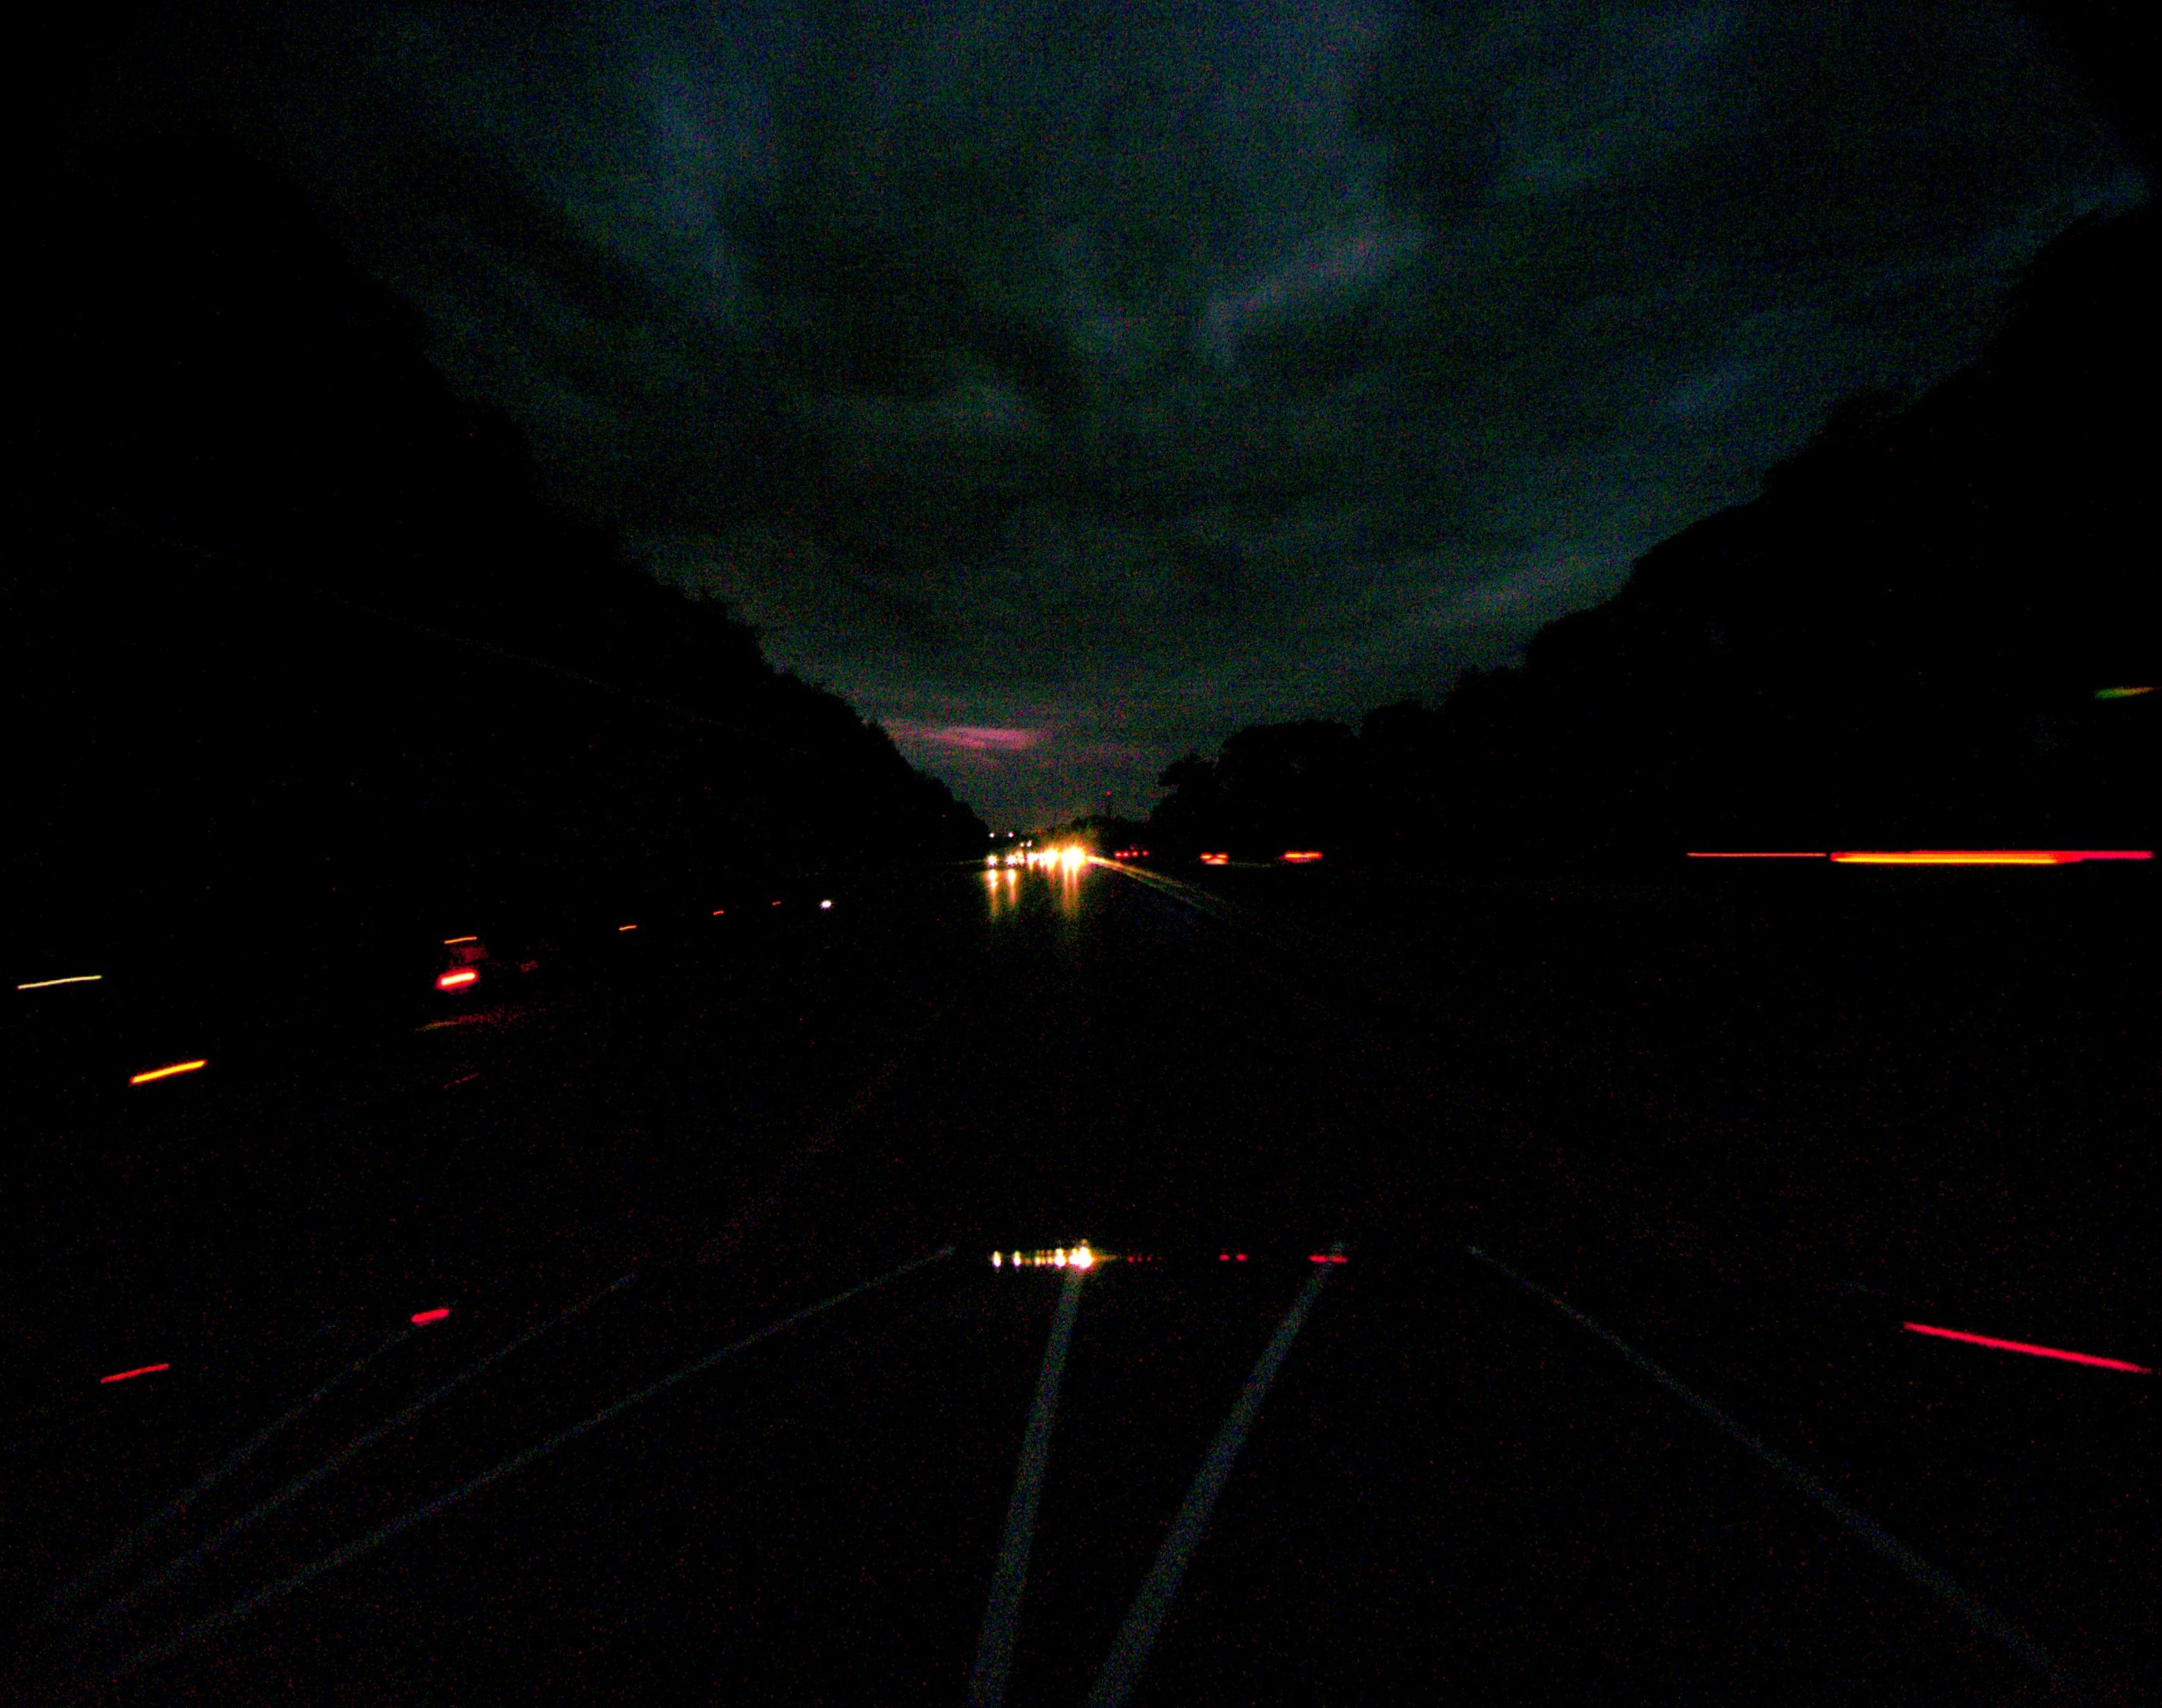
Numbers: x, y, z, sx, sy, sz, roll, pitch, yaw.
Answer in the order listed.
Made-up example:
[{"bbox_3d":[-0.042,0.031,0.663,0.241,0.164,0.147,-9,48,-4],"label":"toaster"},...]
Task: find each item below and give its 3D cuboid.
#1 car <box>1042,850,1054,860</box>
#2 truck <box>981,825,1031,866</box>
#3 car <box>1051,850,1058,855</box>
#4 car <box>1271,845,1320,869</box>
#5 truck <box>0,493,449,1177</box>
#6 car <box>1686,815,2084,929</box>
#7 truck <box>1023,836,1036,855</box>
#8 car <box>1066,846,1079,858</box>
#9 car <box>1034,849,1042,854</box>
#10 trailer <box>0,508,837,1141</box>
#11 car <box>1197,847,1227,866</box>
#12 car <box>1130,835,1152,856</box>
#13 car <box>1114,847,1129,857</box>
[{"bbox_3d":[-6.220,0.192,142.856,1.923,1.706,4.943,-2,0,1],"label":"car"},{"bbox_3d":[-7.901,-0.873,81.928,3.340,3.945,13.538,-2,0,3],"label":"truck"},{"bbox_3d":[-7.599,-0.460,217.846,1.695,1.481,4.949,0,0,1],"label":"car"},{"bbox_3d":[15.222,0.201,54.224,1.891,1.551,5.094,-2,0,-1],"label":"car"},{"bbox_3d":[-7.470,-0.093,4.550,2.498,3.945,5.590,-2,1,1],"label":"truck"},{"bbox_3d":[14.600,0.278,14.444,1.923,1.706,5.285,-2,0,0],"label":"car"},{"bbox_3d":[-11.358,-1.868,169.396,2.539,3.967,9.793,-2,0,-3],"label":"truck"},{"bbox_3d":[-1.280,-0.336,121.289,1.870,1.700,4.585,-2,-1,2],"label":"car"},{"bbox_3d":[-13.875,-0.718,245.661,1.998,1.641,4.000,-2,0,1],"label":"car"},{"bbox_3d":[-7.349,-0.191,11.654,2.489,4.049,13.505,-2,0,1],"label":"trailer"},{"bbox_3d":[11.376,0.234,66.042,1.824,1.548,4.336,-1,0,0],"label":"car"},{"bbox_3d":[12.014,-1.701,152.348,3.143,3.945,8.601,-2,0,-3],"label":"car"},{"bbox_3d":[6.726,-0.293,127.274,1.999,1.598,4.659,-2,0,-3],"label":"car"}]
